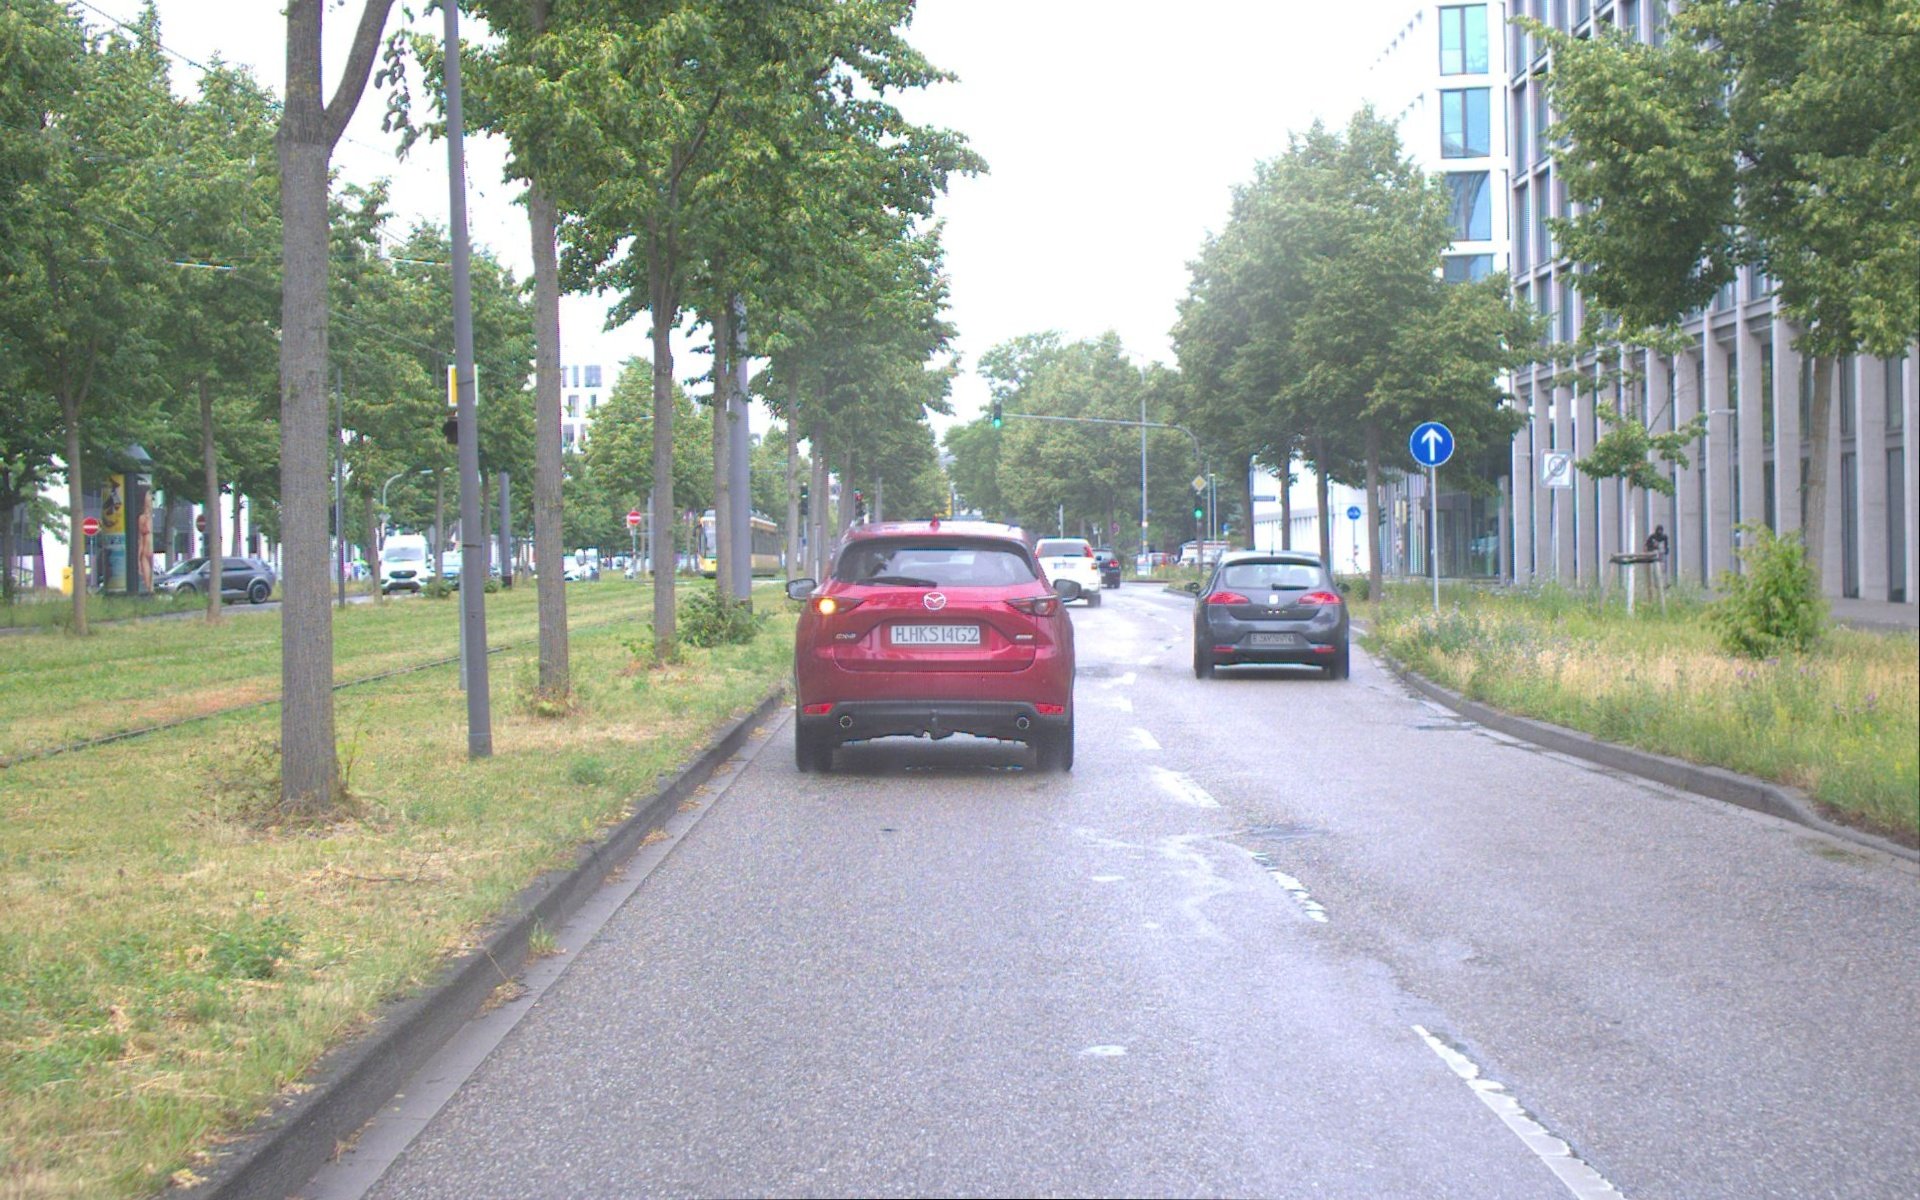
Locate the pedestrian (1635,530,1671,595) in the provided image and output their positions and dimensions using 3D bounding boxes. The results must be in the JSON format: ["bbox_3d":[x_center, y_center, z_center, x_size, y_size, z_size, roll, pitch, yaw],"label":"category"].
[{"bbox_3d":[18.692,-1.011,92.740,0.717,1.709,0.861,-2,1,-1],"label":"pedestrian"}]

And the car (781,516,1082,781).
[{"bbox_3d":[-0.213,0.265,23.747,1.898,1.671,4.000,0,1,-1],"label":"car"}]

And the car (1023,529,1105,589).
[{"bbox_3d":[2.565,-1.034,85.766,1.967,1.432,4.552,1,1,1],"label":"car"}]

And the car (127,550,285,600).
[{"bbox_3d":[-24.310,-0.822,111.021,1.998,1.516,4.669,1,2,43],"label":"car"}]

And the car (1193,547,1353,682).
[{"bbox_3d":[3.594,0.129,39.877,1.744,1.460,3.781,-1,1,4],"label":"car"}]

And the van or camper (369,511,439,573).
[{"bbox_3d":[-22.211,-2.341,137.470,1.909,2.402,5.402,-1,1,0],"label":"van or camper"}]

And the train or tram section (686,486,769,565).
[{"bbox_3d":[-11.092,-3.559,164.906,3.129,3.646,13.407,-1,1,0],"label":"train or tram section"}]
